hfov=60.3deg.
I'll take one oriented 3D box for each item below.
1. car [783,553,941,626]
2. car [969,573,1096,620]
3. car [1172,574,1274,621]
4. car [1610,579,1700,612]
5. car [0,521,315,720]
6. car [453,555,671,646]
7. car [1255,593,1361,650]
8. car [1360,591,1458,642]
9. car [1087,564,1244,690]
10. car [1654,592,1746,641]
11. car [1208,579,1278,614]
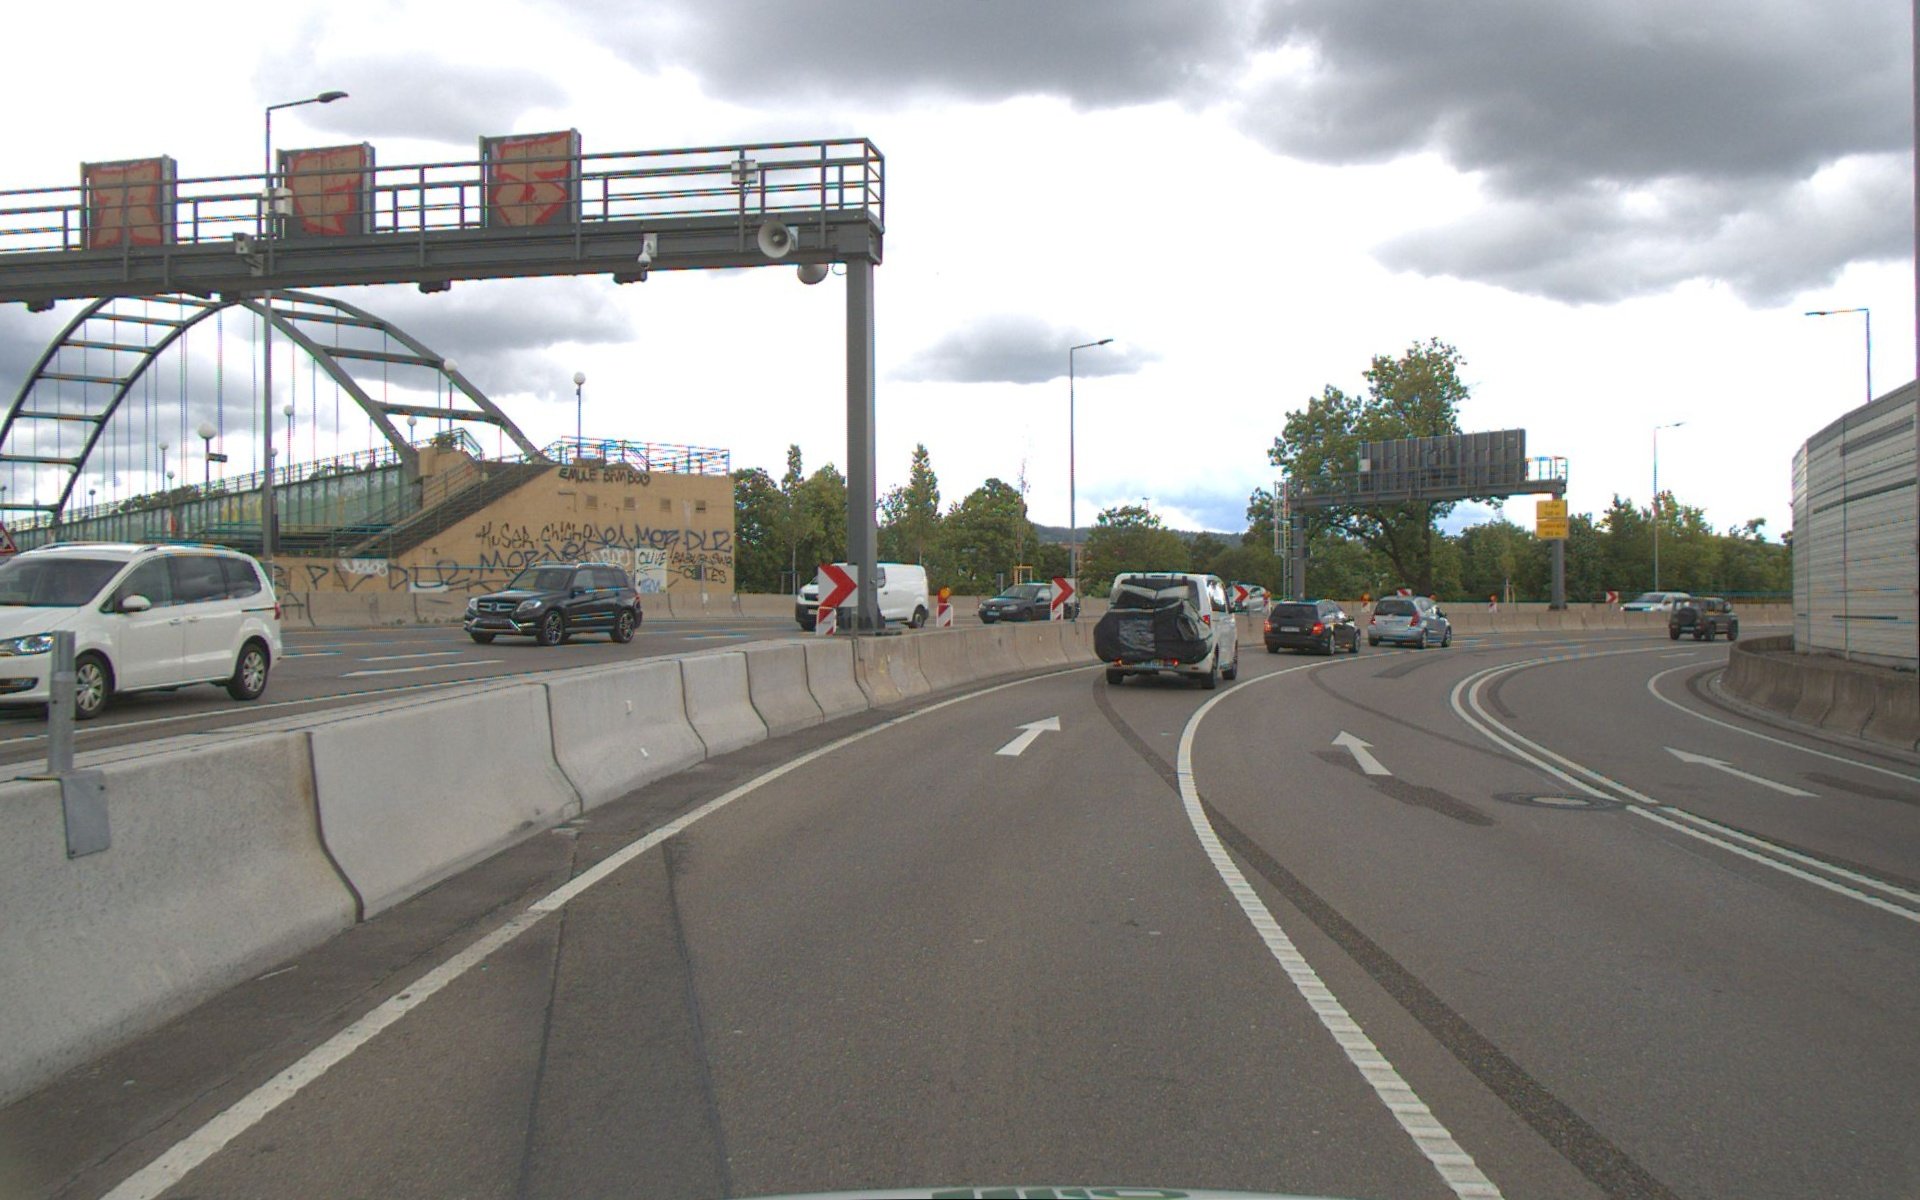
[{"bbox_3d":[-2.725,-0.286,47.432,2.195,1.986,5.097,1,0,28],"label":"car"},{"bbox_3d":[2.506,-0.110,56.168,1.963,1.514,4.563,1,0,40],"label":"car"},{"bbox_3d":[10.104,-0.077,63.399,1.963,1.715,4.237,1,0,40],"label":"car"},{"bbox_3d":[34.996,-0.227,83.249,5.094,1.579,2.074,0,2,-40],"label":"car"},{"bbox_3d":[-9.033,0.182,17.512,1.909,1.780,5.278,0,0,5],"label":"car"},{"bbox_3d":[-8.206,-0.005,34.624,1.953,1.725,4.927,1,0,21],"label":"car"},{"bbox_3d":[9.383,0.560,44.410,1.780,1.459,4.060,-1,0,27],"label":"car"},{"bbox_3d":[14.213,0.474,52.214,1.886,1.515,4.055,1,1,32],"label":"car"},{"bbox_3d":[3.660,0.403,28.474,1.951,1.891,5.645,2,0,14],"label":"car"},{"bbox_3d":[29.589,0.669,66.105,3.966,1.892,1.969,1,-1,-42],"label":"car"},{"bbox_3d":[12.610,-0.173,73.623,2.916,1.501,1.605,1,0,-43],"label":"car"}]
